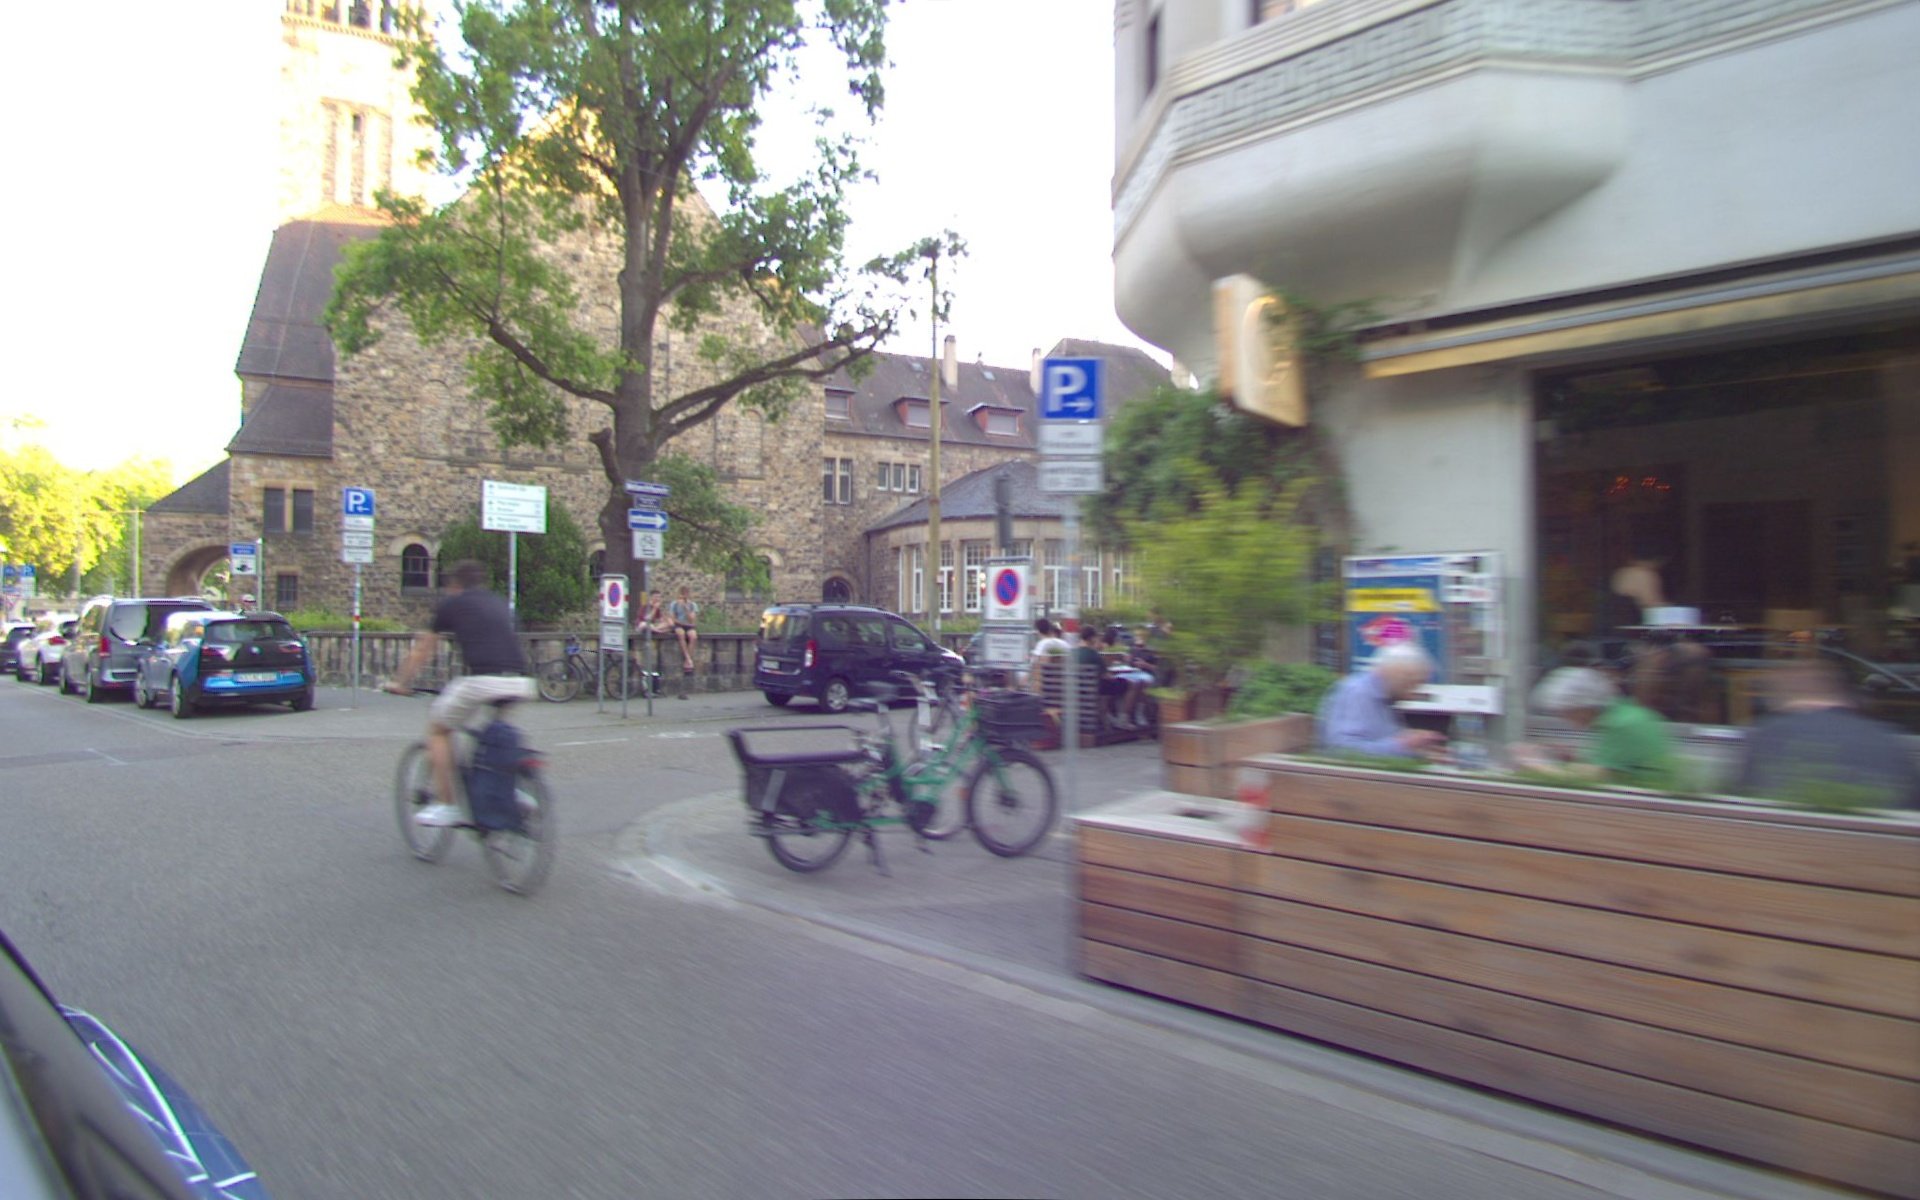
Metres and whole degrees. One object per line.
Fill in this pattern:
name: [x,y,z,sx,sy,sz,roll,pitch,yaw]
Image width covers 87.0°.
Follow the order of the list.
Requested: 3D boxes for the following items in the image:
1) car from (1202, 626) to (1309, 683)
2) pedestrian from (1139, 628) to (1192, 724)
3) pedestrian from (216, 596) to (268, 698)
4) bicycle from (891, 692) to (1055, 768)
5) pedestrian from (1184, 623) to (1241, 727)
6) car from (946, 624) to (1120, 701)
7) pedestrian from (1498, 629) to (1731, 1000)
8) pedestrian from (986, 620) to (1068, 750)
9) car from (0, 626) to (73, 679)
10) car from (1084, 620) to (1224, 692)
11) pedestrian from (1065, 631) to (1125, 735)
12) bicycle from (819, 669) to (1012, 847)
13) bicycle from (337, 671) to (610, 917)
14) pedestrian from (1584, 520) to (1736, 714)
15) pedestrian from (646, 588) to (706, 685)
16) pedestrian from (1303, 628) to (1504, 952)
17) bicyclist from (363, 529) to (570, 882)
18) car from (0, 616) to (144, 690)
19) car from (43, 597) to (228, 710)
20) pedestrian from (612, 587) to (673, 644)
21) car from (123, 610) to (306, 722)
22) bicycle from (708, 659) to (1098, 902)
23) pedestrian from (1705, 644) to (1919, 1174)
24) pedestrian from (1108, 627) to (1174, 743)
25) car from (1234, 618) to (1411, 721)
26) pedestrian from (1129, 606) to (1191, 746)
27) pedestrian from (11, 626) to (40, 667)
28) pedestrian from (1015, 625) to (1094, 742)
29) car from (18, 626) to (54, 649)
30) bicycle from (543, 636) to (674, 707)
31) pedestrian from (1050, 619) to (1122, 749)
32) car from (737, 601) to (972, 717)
car: [8.878,1.565,30.221,1.632,1.583,3.984,-2,-2,40]
pedestrian: [3.209,1.170,15.795,0.573,1.458,0.636,-2,-3,40]
pedestrian: [-13.893,0.899,19.590,0.802,1.920,0.576,-2,-3,37]
bicycle: [0.101,1.304,10.365,1.777,0.701,0.419,-4,-4,38]
pedestrian: [3.786,1.108,15.196,0.644,1.512,0.566,-2,-3,39]
car: [1.684,1.291,22.115,1.719,1.511,4.157,-2,-2,40]
pedestrian: [2.652,0.787,4.110,0.704,1.335,0.531,-2,-2,41]
pedestrian: [0.837,1.031,12.649,0.783,1.552,0.695,-2,-3,39]
car: [-27.229,1.489,29.355,4.314,1.446,1.764,-2,-2,42]
car: [5.009,1.376,25.815,1.719,1.665,4.157,-2,-2,40]
pedestrian: [1.917,1.154,14.348,0.644,1.422,0.566,-2,-3,41]
bicycle: [-0.358,0.998,6.856,0.417,1.020,1.722,0,-3,-36]
bicycle: [-2.679,0.941,5.467,1.903,1.048,0.608,-2,-2,41]
pedestrian: [4.523,0.110,6.540,0.747,1.162,0.551,-2,-2,40]
pedestrian: [-5.238,0.674,18.654,0.836,1.734,0.699,-2,-3,39]
pedestrian: [2.031,0.801,4.647,0.704,1.335,0.531,-2,-2,41]
bicyclist: [-2.685,0.523,5.482,1.142,1.697,0.596,-2,-2,41]
car: [-21.233,1.216,24.155,4.464,1.604,1.852,-2,-2,39]
car: [-15.961,0.974,19.485,5.288,1.881,1.972,-2,-2,42]
pedestrian: [-5.684,0.288,18.109,0.836,0.988,0.699,-2,-3,39]
car: [-11.900,0.981,16.061,4.004,1.567,1.622,-2,-2,43]
bicycle: [-0.277,0.912,5.567,2.080,1.103,0.502,0,-3,-25]
pedestrian: [2.610,0.803,2.853,0.770,1.335,0.603,-2,-2,39]
pedestrian: [2.351,1.079,13.161,0.644,1.454,0.566,-2,-3,41]
car: [6.804,1.202,18.758,1.739,1.630,4.094,2,0,40]
pedestrian: [2.405,0.898,12.165,0.545,1.633,0.535,-2,-3,40]
pedestrian: [-39.831,1.970,43.151,0.689,1.738,0.709,-1,-2,31]
pedestrian: [1.248,1.074,13.308,0.783,1.480,0.695,-2,-3,39]
car: [-83.387,3.413,91.332,1.837,2.029,3.820,1,-2,-35]
bicycle: [-5.942,1.182,17.220,0.555,1.142,2.117,-2,-2,41]
pedestrian: [1.492,0.967,11.982,0.644,1.480,0.566,-2,-3,39]
car: [-1.808,1.010,18.236,1.891,1.858,3.942,-2,-3,44]
